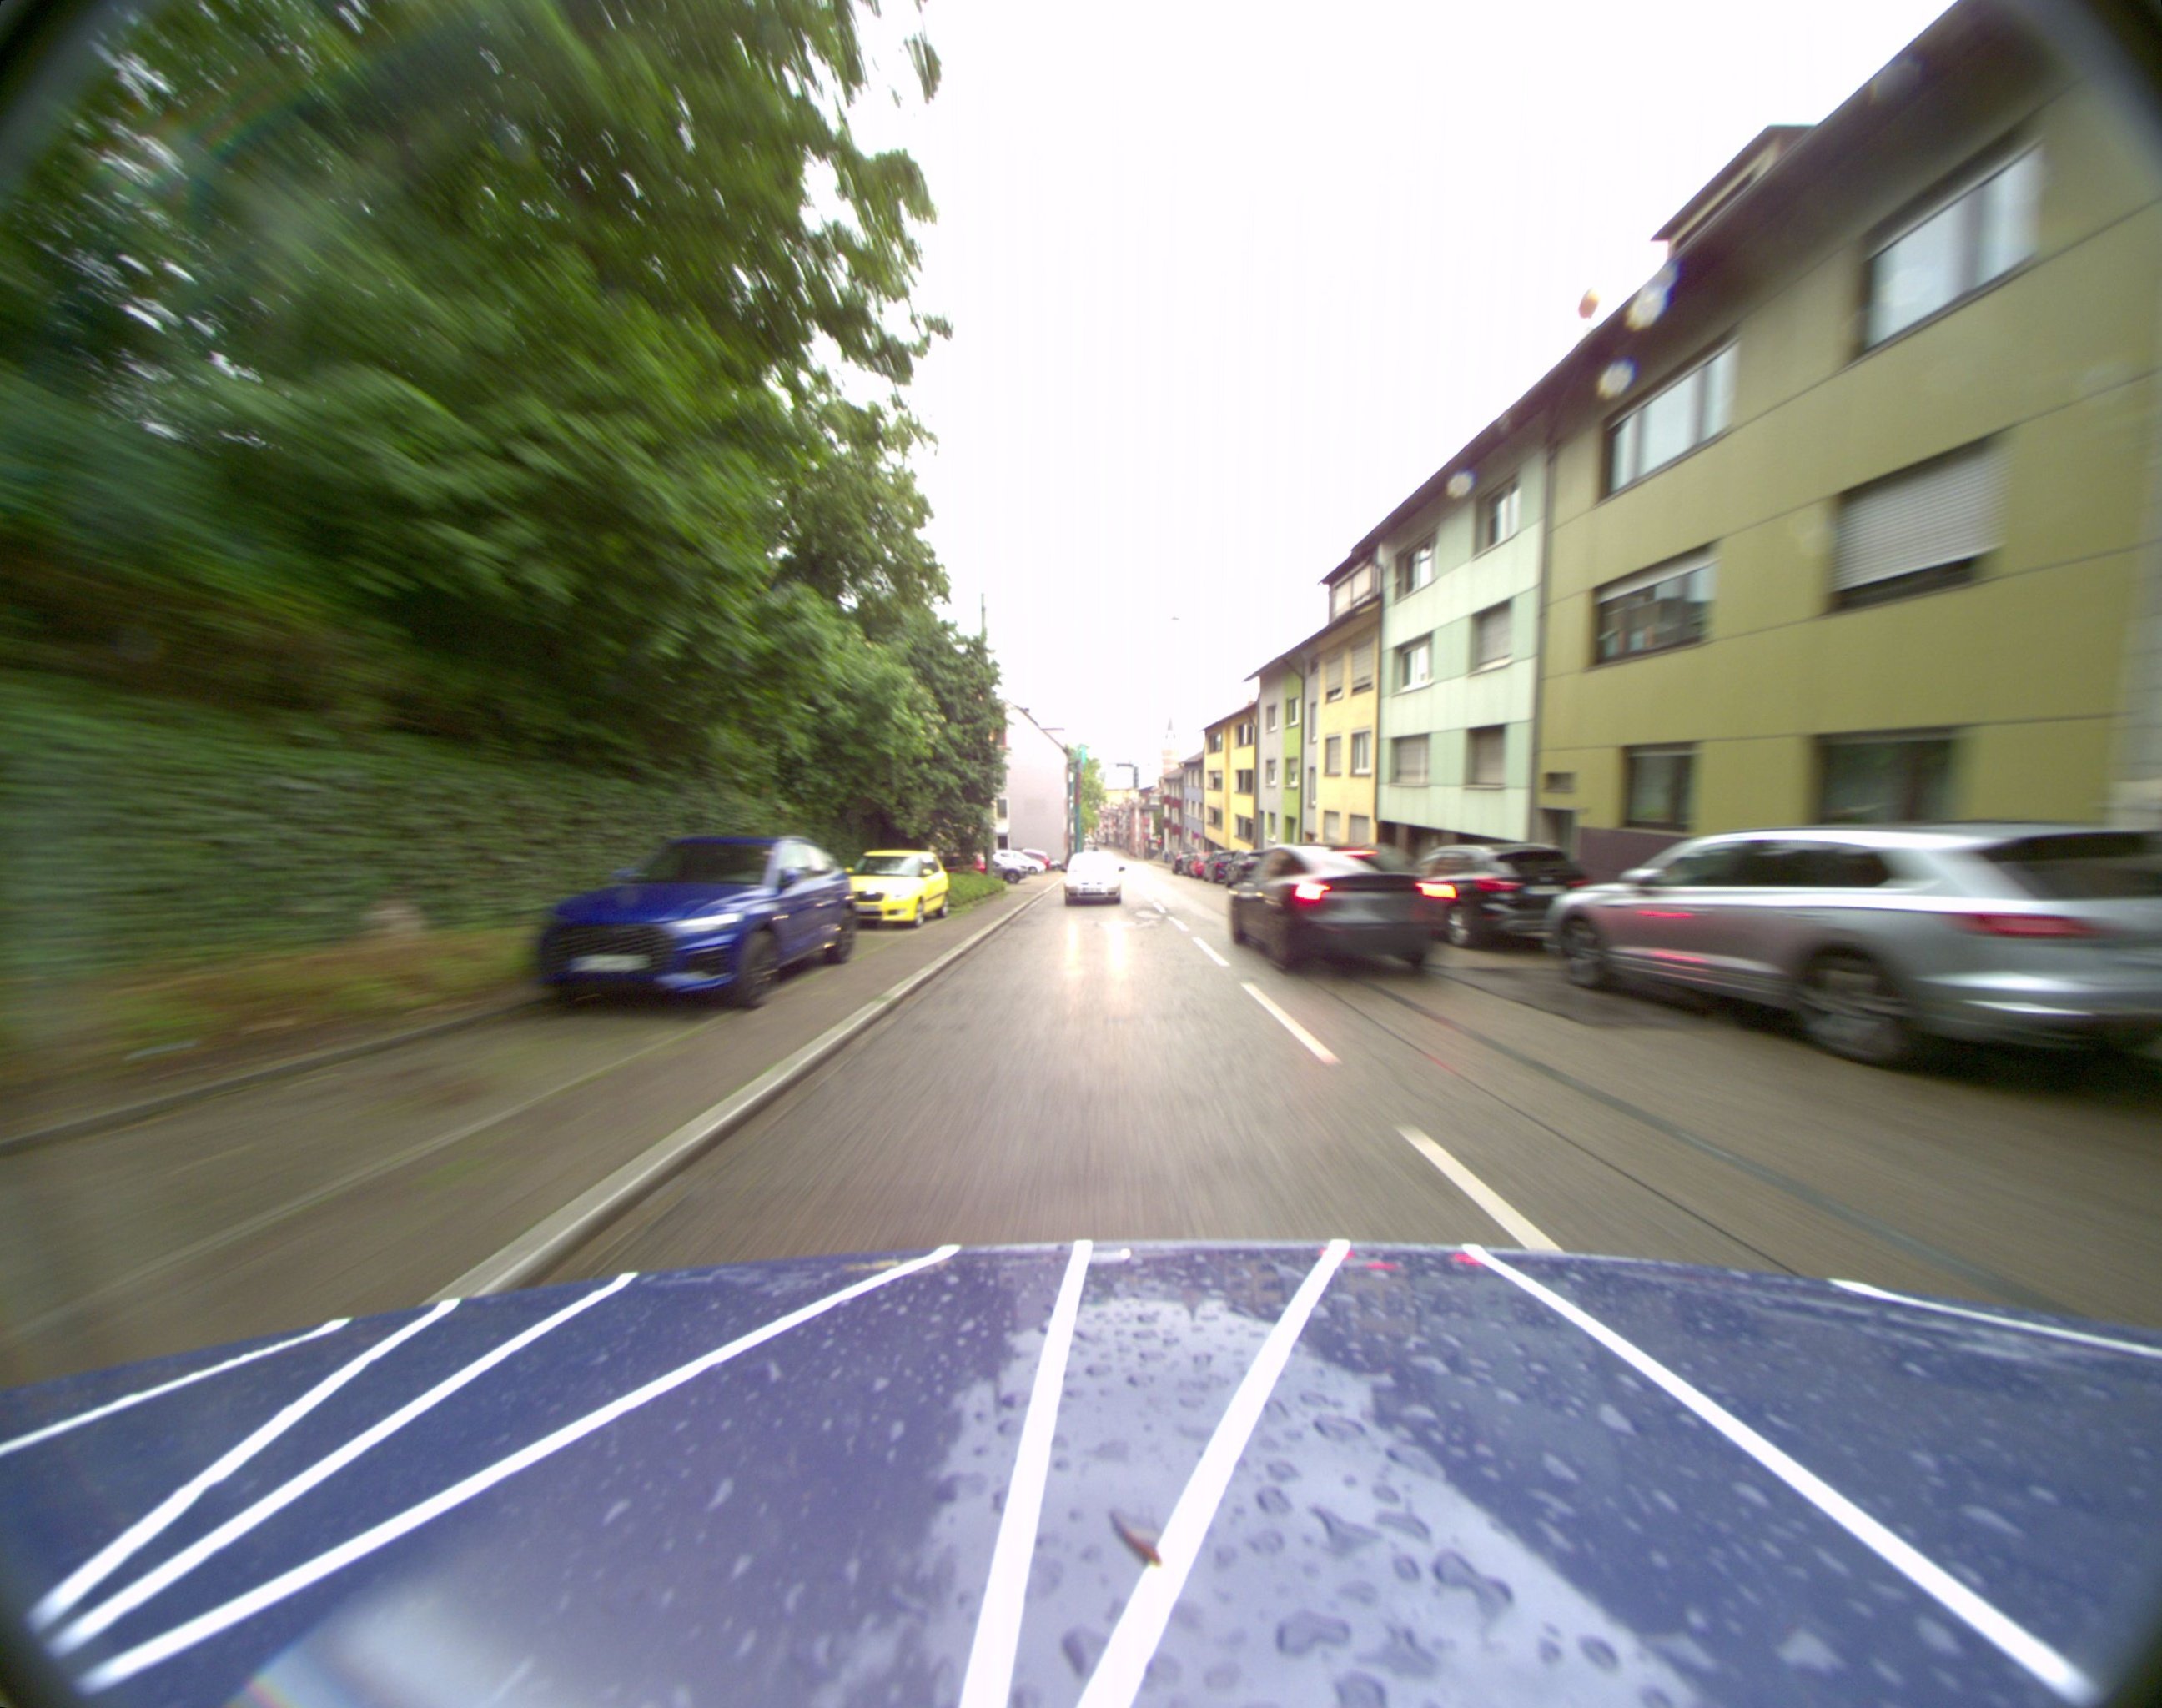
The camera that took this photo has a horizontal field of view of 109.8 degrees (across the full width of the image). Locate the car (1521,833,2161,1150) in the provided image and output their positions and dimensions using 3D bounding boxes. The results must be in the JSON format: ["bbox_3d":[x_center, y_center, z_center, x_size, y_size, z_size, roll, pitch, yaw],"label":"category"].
[{"bbox_3d":[6.286,0.750,6.610,1.971,1.729,4.884,1,1,-1],"label":"car"}]

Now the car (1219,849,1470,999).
[{"bbox_3d":[3.262,0.746,10.476,1.941,1.615,4.499,0,1,1],"label":"car"}]

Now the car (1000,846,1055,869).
[{"bbox_3d":[-4.278,0.282,60.869,4.193,1.635,1.803,2,2,1],"label":"car"}]

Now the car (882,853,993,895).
[{"bbox_3d":[-5.864,0.802,31.341,4.193,1.584,1.803,-1,1,1],"label":"car"}]

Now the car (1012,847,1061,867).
[{"bbox_3d":[-3.889,0.272,66.946,4.193,1.565,1.803,2,1,1],"label":"car"}]

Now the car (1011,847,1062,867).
[{"bbox_3d":[-3.751,0.249,64.771,4.193,1.565,1.803,2,1,1],"label":"car"}]

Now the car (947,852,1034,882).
[{"bbox_3d":[-4.603,0.653,39.032,4.193,1.408,1.803,1,1,1],"label":"car"}]

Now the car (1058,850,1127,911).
[{"bbox_3d":[0.438,0.715,22.891,1.825,1.603,4.189,-2,1,4],"label":"car"}]

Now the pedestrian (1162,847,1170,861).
[{"bbox_3d":[10.317,0.024,92.224,0.805,1.608,0.455,-1,1,3],"label":"pedestrian"}]

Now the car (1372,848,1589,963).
[{"bbox_3d":[6.492,0.717,12.950,1.414,1.605,4.383,1,1,1],"label":"car"}]

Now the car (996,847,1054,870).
[{"bbox_3d":[-4.263,0.336,58.381,4.193,1.565,1.803,2,1,1],"label":"car"}]

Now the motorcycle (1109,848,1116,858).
[{"bbox_3d":[3.983,-0.143,95.672,0.778,1.120,2.299,-2,1,3],"label":"motorcycle"}]

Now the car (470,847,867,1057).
[{"bbox_3d":[-3.887,0.749,8.301,1.769,1.614,4.678,0,1,0],"label":"car"}]

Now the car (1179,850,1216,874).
[{"bbox_3d":[7.589,0.498,49.832,1.908,1.528,4.000,1,1,1],"label":"car"}]

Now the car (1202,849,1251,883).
[{"bbox_3d":[7.194,0.536,37.832,1.687,1.584,4.055,1,1,1],"label":"car"}]

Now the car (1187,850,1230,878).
[{"bbox_3d":[7.464,0.571,44.862,1.908,1.528,4.000,1,1,1],"label":"car"}]

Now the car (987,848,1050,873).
[{"bbox_3d":[-4.397,0.444,53.588,4.193,1.565,1.803,2,1,1],"label":"car"}]

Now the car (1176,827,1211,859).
[{"bbox_3d":[9.595,-0.914,65.191,2.122,2.536,5.443,1,1,1],"label":"car"}]

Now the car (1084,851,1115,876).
[{"bbox_3d":[1.250,0.611,51.851,1.998,1.603,3.966,-1,1,0],"label":"car"}]

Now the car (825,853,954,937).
[{"bbox_3d":[-3.807,0.738,15.726,1.567,1.459,3.898,2,1,1],"label":"car"}]

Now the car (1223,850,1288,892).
[{"bbox_3d":[6.925,0.628,30.567,1.696,1.584,3.999,0,1,0],"label":"car"}]

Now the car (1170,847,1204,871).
[{"bbox_3d":[7.599,0.334,54.670,1.908,1.647,4.328,1,1,1],"label":"car"}]

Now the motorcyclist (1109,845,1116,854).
[{"bbox_3d":[3.969,-0.552,95.669,0.779,1.120,0.549,-2,1,3],"label":"motorcyclist"}]
